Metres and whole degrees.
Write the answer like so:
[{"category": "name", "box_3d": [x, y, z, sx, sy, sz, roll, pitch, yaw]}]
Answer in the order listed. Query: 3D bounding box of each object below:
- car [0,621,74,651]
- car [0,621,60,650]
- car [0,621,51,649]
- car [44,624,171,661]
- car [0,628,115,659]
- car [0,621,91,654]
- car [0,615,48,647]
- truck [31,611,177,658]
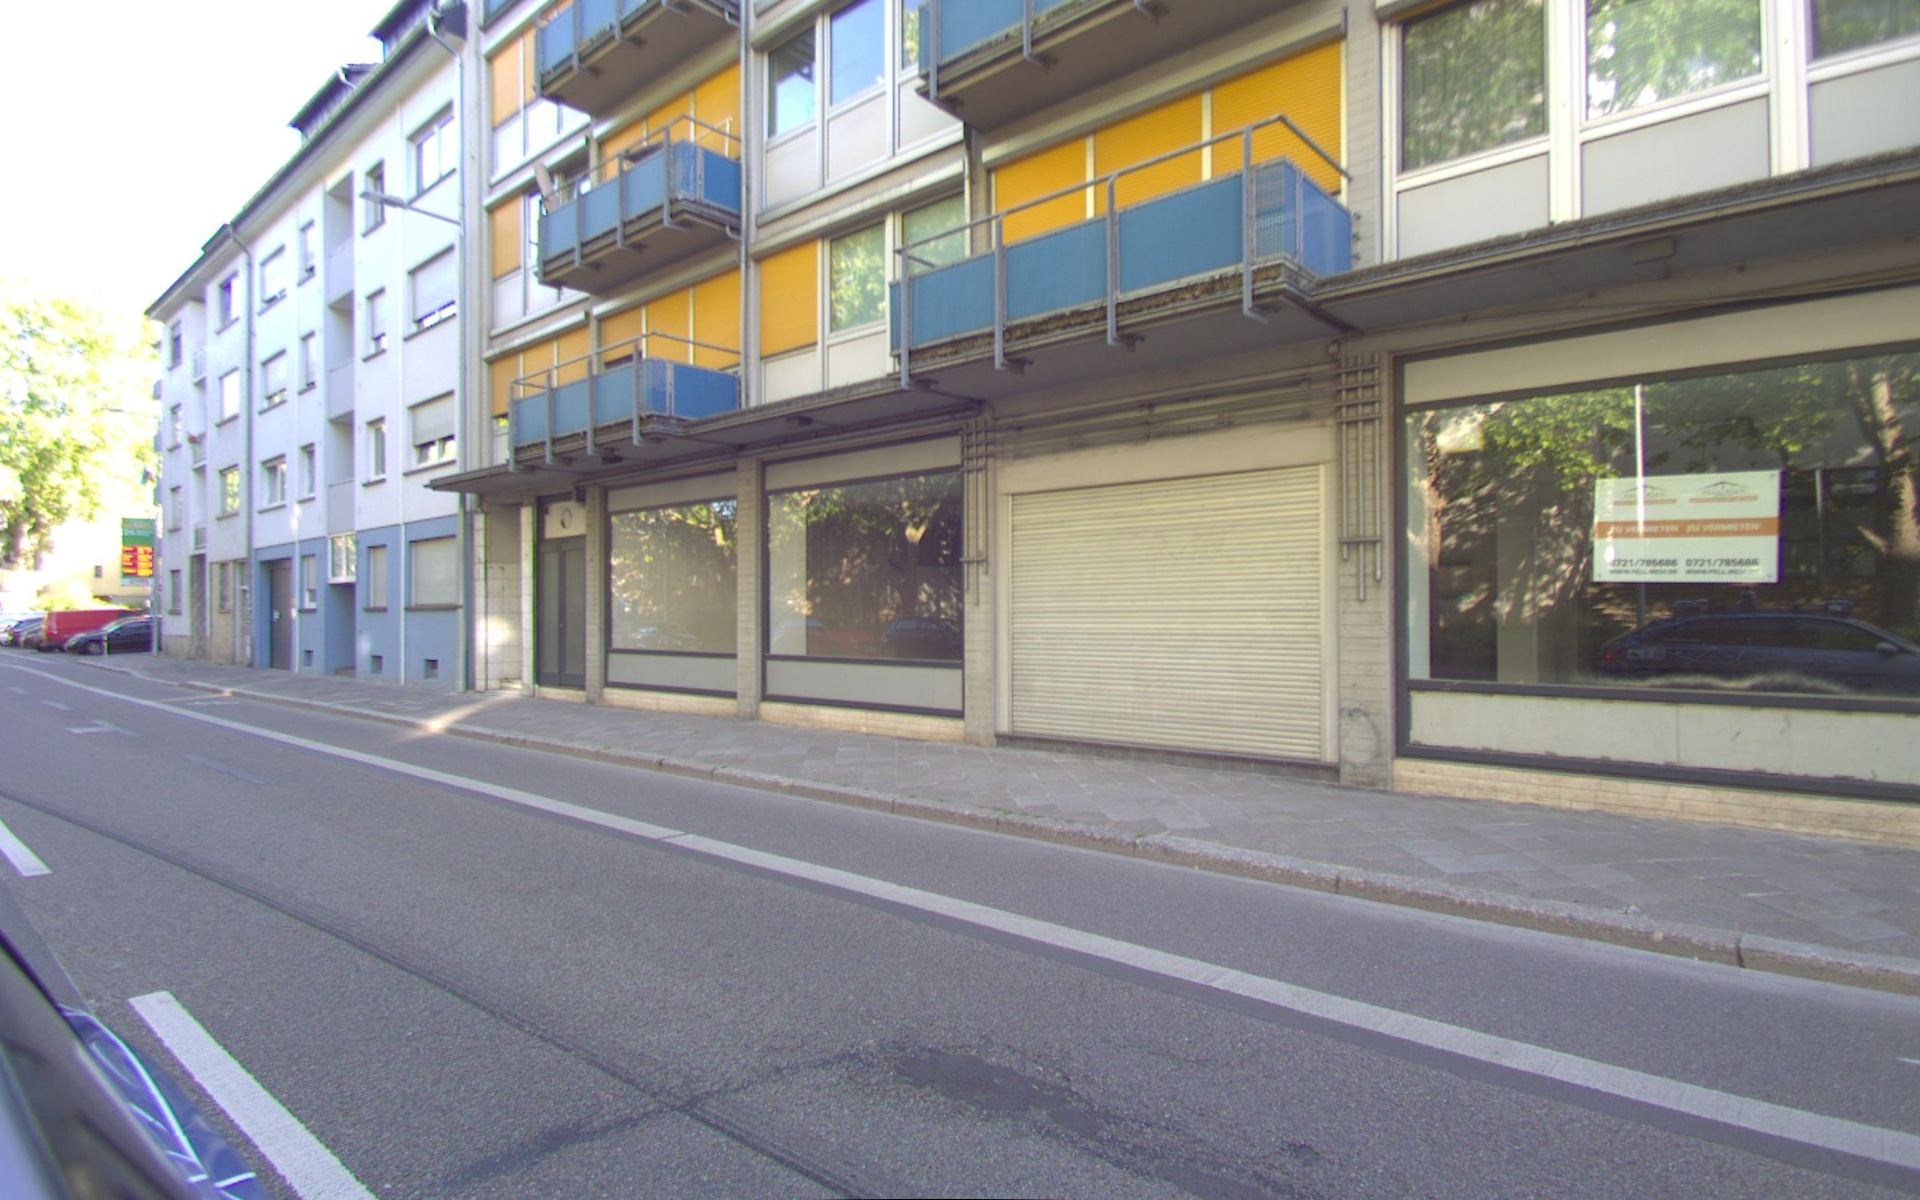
[{"category": "car", "box_3d": [-52.893, 2.030, 57.473, 1.656, 1.599, 3.615, -1, 0, 35]}, {"category": "car", "box_3d": [-55.077, 2.075, 59.002, 1.715, 1.594, 3.660, -1, 0, 35]}, {"category": "car", "box_3d": [-56.897, 2.115, 60.394, 1.740, 1.600, 3.685, -1, 0, 35]}, {"category": "car", "box_3d": [-36.856, 1.817, 43.832, 1.780, 1.404, 3.947, -1, 0, 39]}, {"category": "car", "box_3d": [-43.309, 2.041, 48.523, 1.904, 1.282, 3.983, -1, 0, 39]}, {"category": "car", "box_3d": [-50.831, 2.033, 55.969, 1.699, 1.640, 3.952, -1, 0, 35]}, {"category": "car", "box_3d": [-59.738, 1.960, 63.806, 1.693, 1.953, 3.224, -1, 0, 43]}, {"category": "truck", "box_3d": [-40.359, 1.579, 47.837, 1.998, 2.036, 5.024, -1, 0, 40]}]
